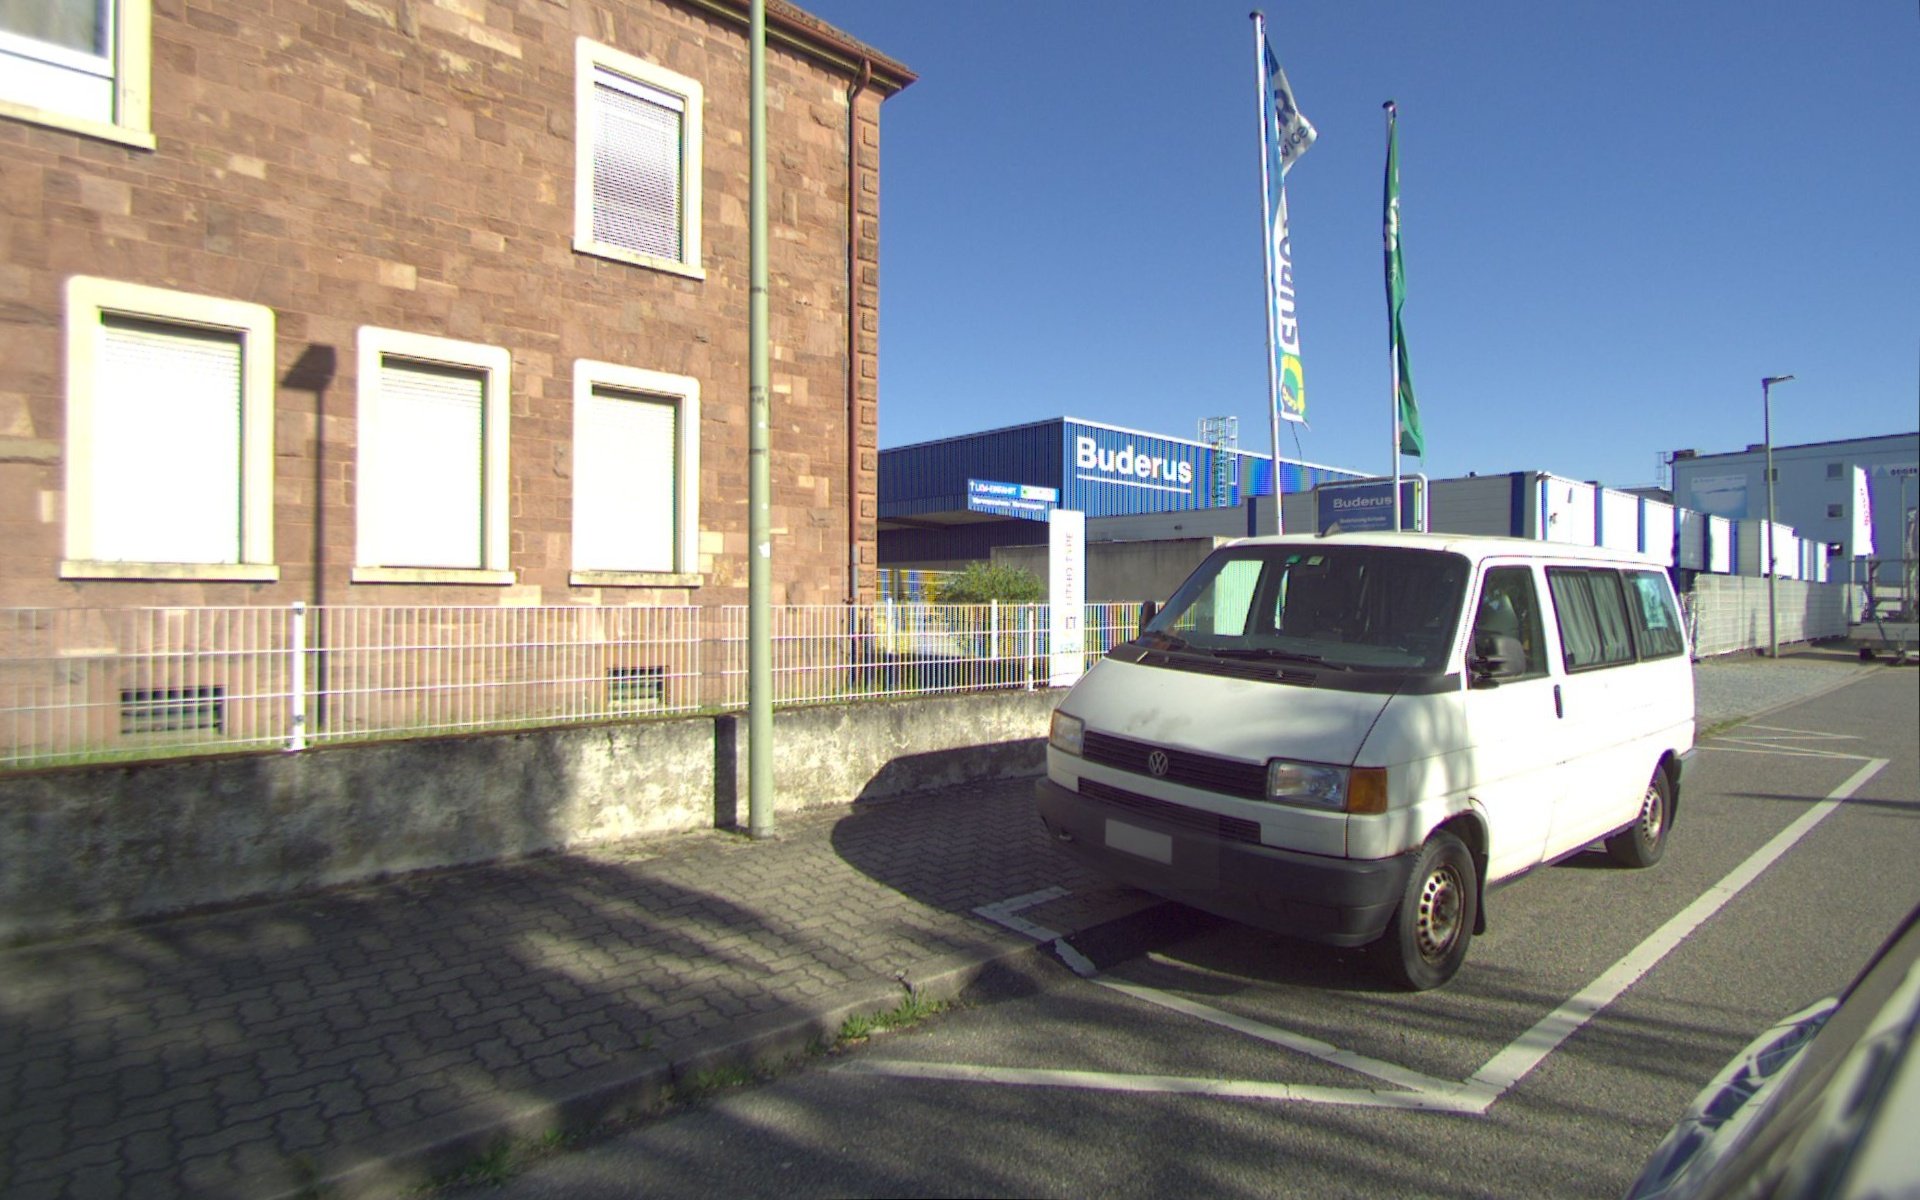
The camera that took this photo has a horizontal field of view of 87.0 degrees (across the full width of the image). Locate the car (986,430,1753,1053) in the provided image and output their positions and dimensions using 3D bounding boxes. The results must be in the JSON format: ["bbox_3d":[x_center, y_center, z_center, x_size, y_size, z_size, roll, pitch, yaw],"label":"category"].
[{"bbox_3d":[2.660,0.442,5.704,5.070,2.039,1.877,-1,-1,-41],"label":"car"}]

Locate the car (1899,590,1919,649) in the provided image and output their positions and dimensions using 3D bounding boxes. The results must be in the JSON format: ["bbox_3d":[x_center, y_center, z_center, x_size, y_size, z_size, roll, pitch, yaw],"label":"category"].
[{"bbox_3d":[29.706,0.519,30.172,4.649,1.688,1.997,-1,-1,-41],"label":"car"}]

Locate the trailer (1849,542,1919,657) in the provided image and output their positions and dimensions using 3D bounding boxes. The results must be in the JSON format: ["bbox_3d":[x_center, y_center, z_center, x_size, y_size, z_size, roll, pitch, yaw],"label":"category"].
[{"bbox_3d":[24.531,-0.035,25.562,5.603,2.706,2.464,-1,1,-42],"label":"trailer"}]
